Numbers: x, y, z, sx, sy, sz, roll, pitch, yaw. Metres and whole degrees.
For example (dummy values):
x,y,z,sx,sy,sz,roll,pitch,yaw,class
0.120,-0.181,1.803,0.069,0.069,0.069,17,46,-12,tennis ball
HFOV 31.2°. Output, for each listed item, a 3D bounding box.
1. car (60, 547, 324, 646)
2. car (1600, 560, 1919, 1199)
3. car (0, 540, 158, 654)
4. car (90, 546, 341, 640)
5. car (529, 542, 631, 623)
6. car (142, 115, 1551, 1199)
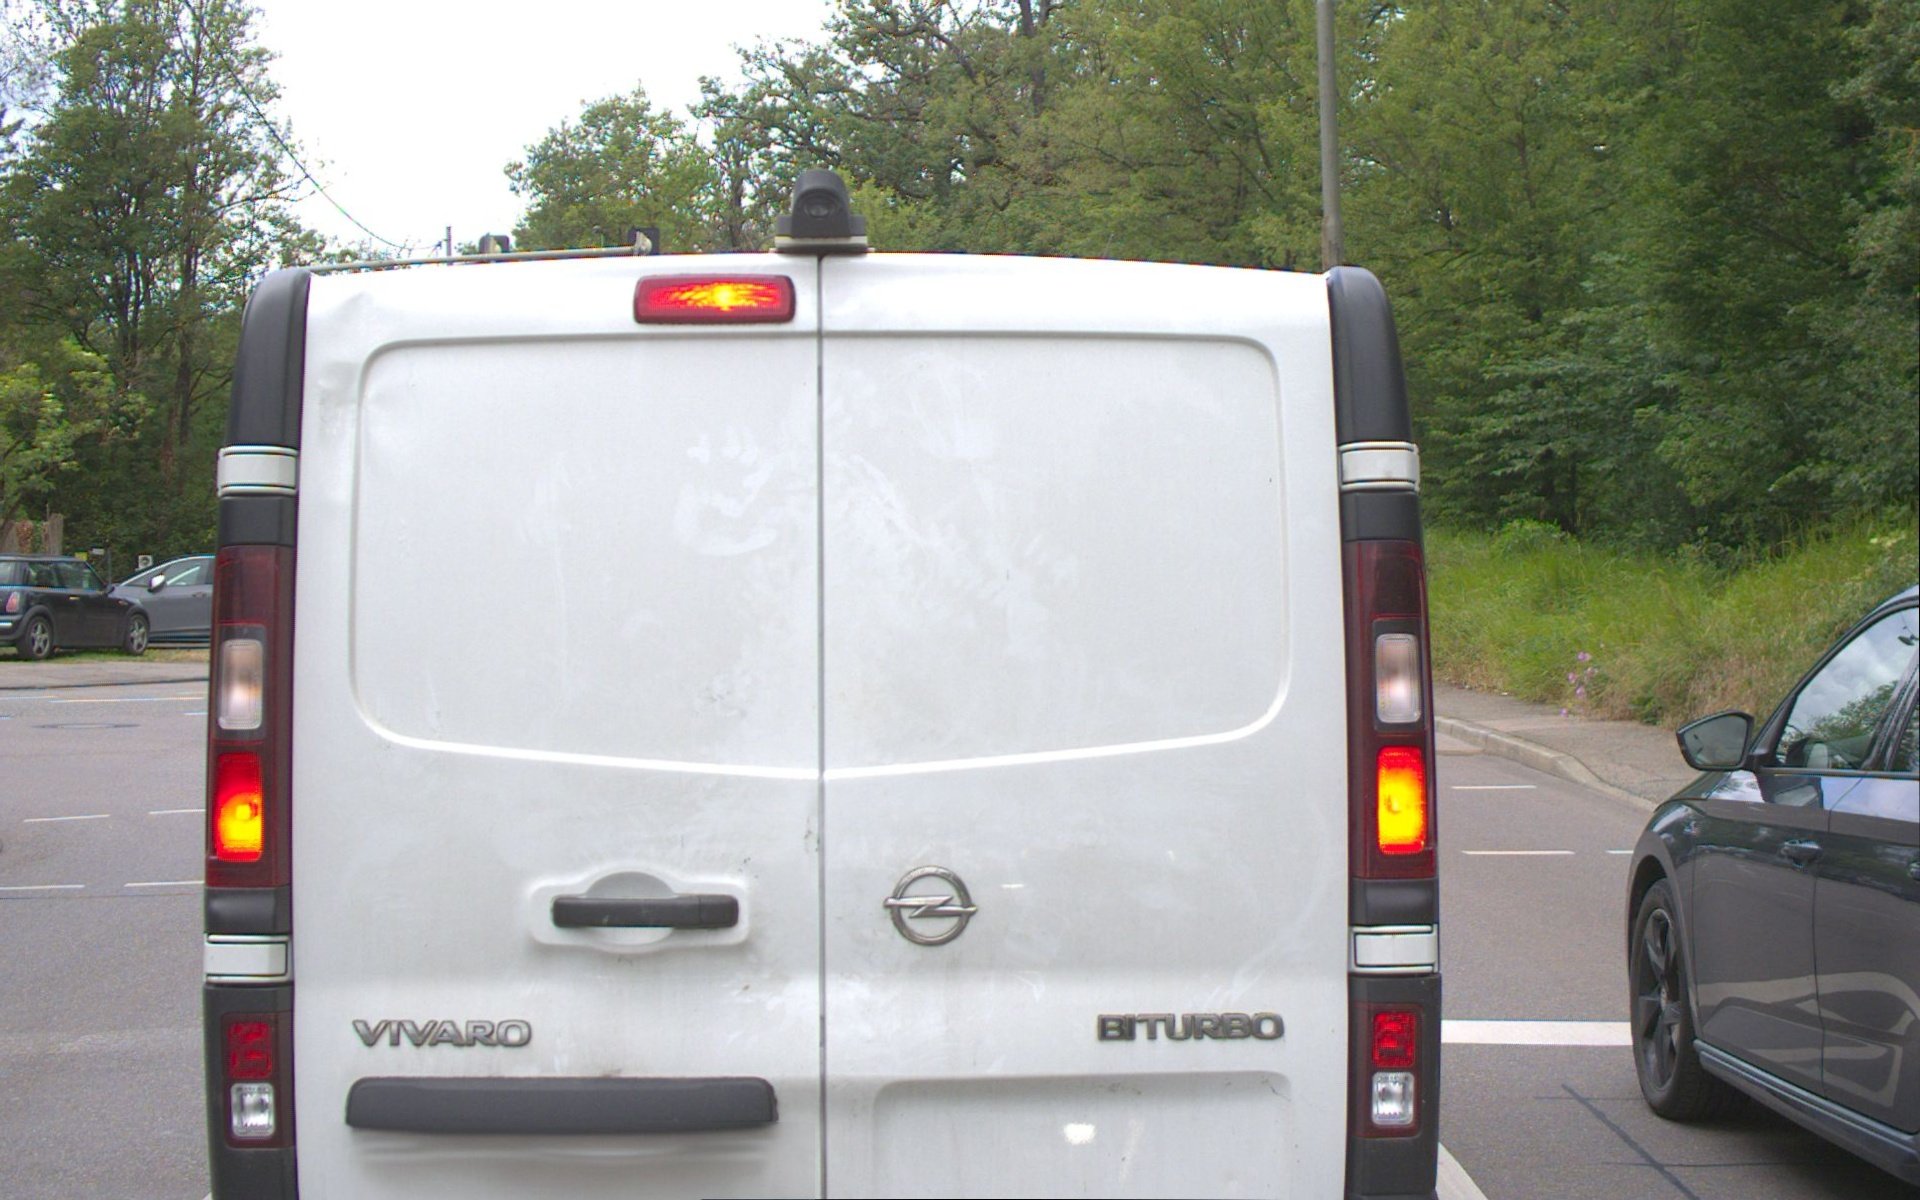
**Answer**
x,y,z,sx,sy,sz,roll,pitch,yaw,class
-12.665,-0.084,56.641,4.085,1.548,1.855,-1,2,-17,car
2.704,0.653,7.410,1.792,1.445,4.000,0,1,-2,car
-12.535,-0.064,46.309,1.699,1.444,3.540,2,1,19,car
-12.878,-0.143,59.426,4.085,1.548,1.855,-1,2,-17,car
-7.300,-0.366,66.313,1.856,1.501,4.001,0,1,-5,car
-0.268,0.336,7.066,1.916,2.046,4.615,1,1,-3,car
